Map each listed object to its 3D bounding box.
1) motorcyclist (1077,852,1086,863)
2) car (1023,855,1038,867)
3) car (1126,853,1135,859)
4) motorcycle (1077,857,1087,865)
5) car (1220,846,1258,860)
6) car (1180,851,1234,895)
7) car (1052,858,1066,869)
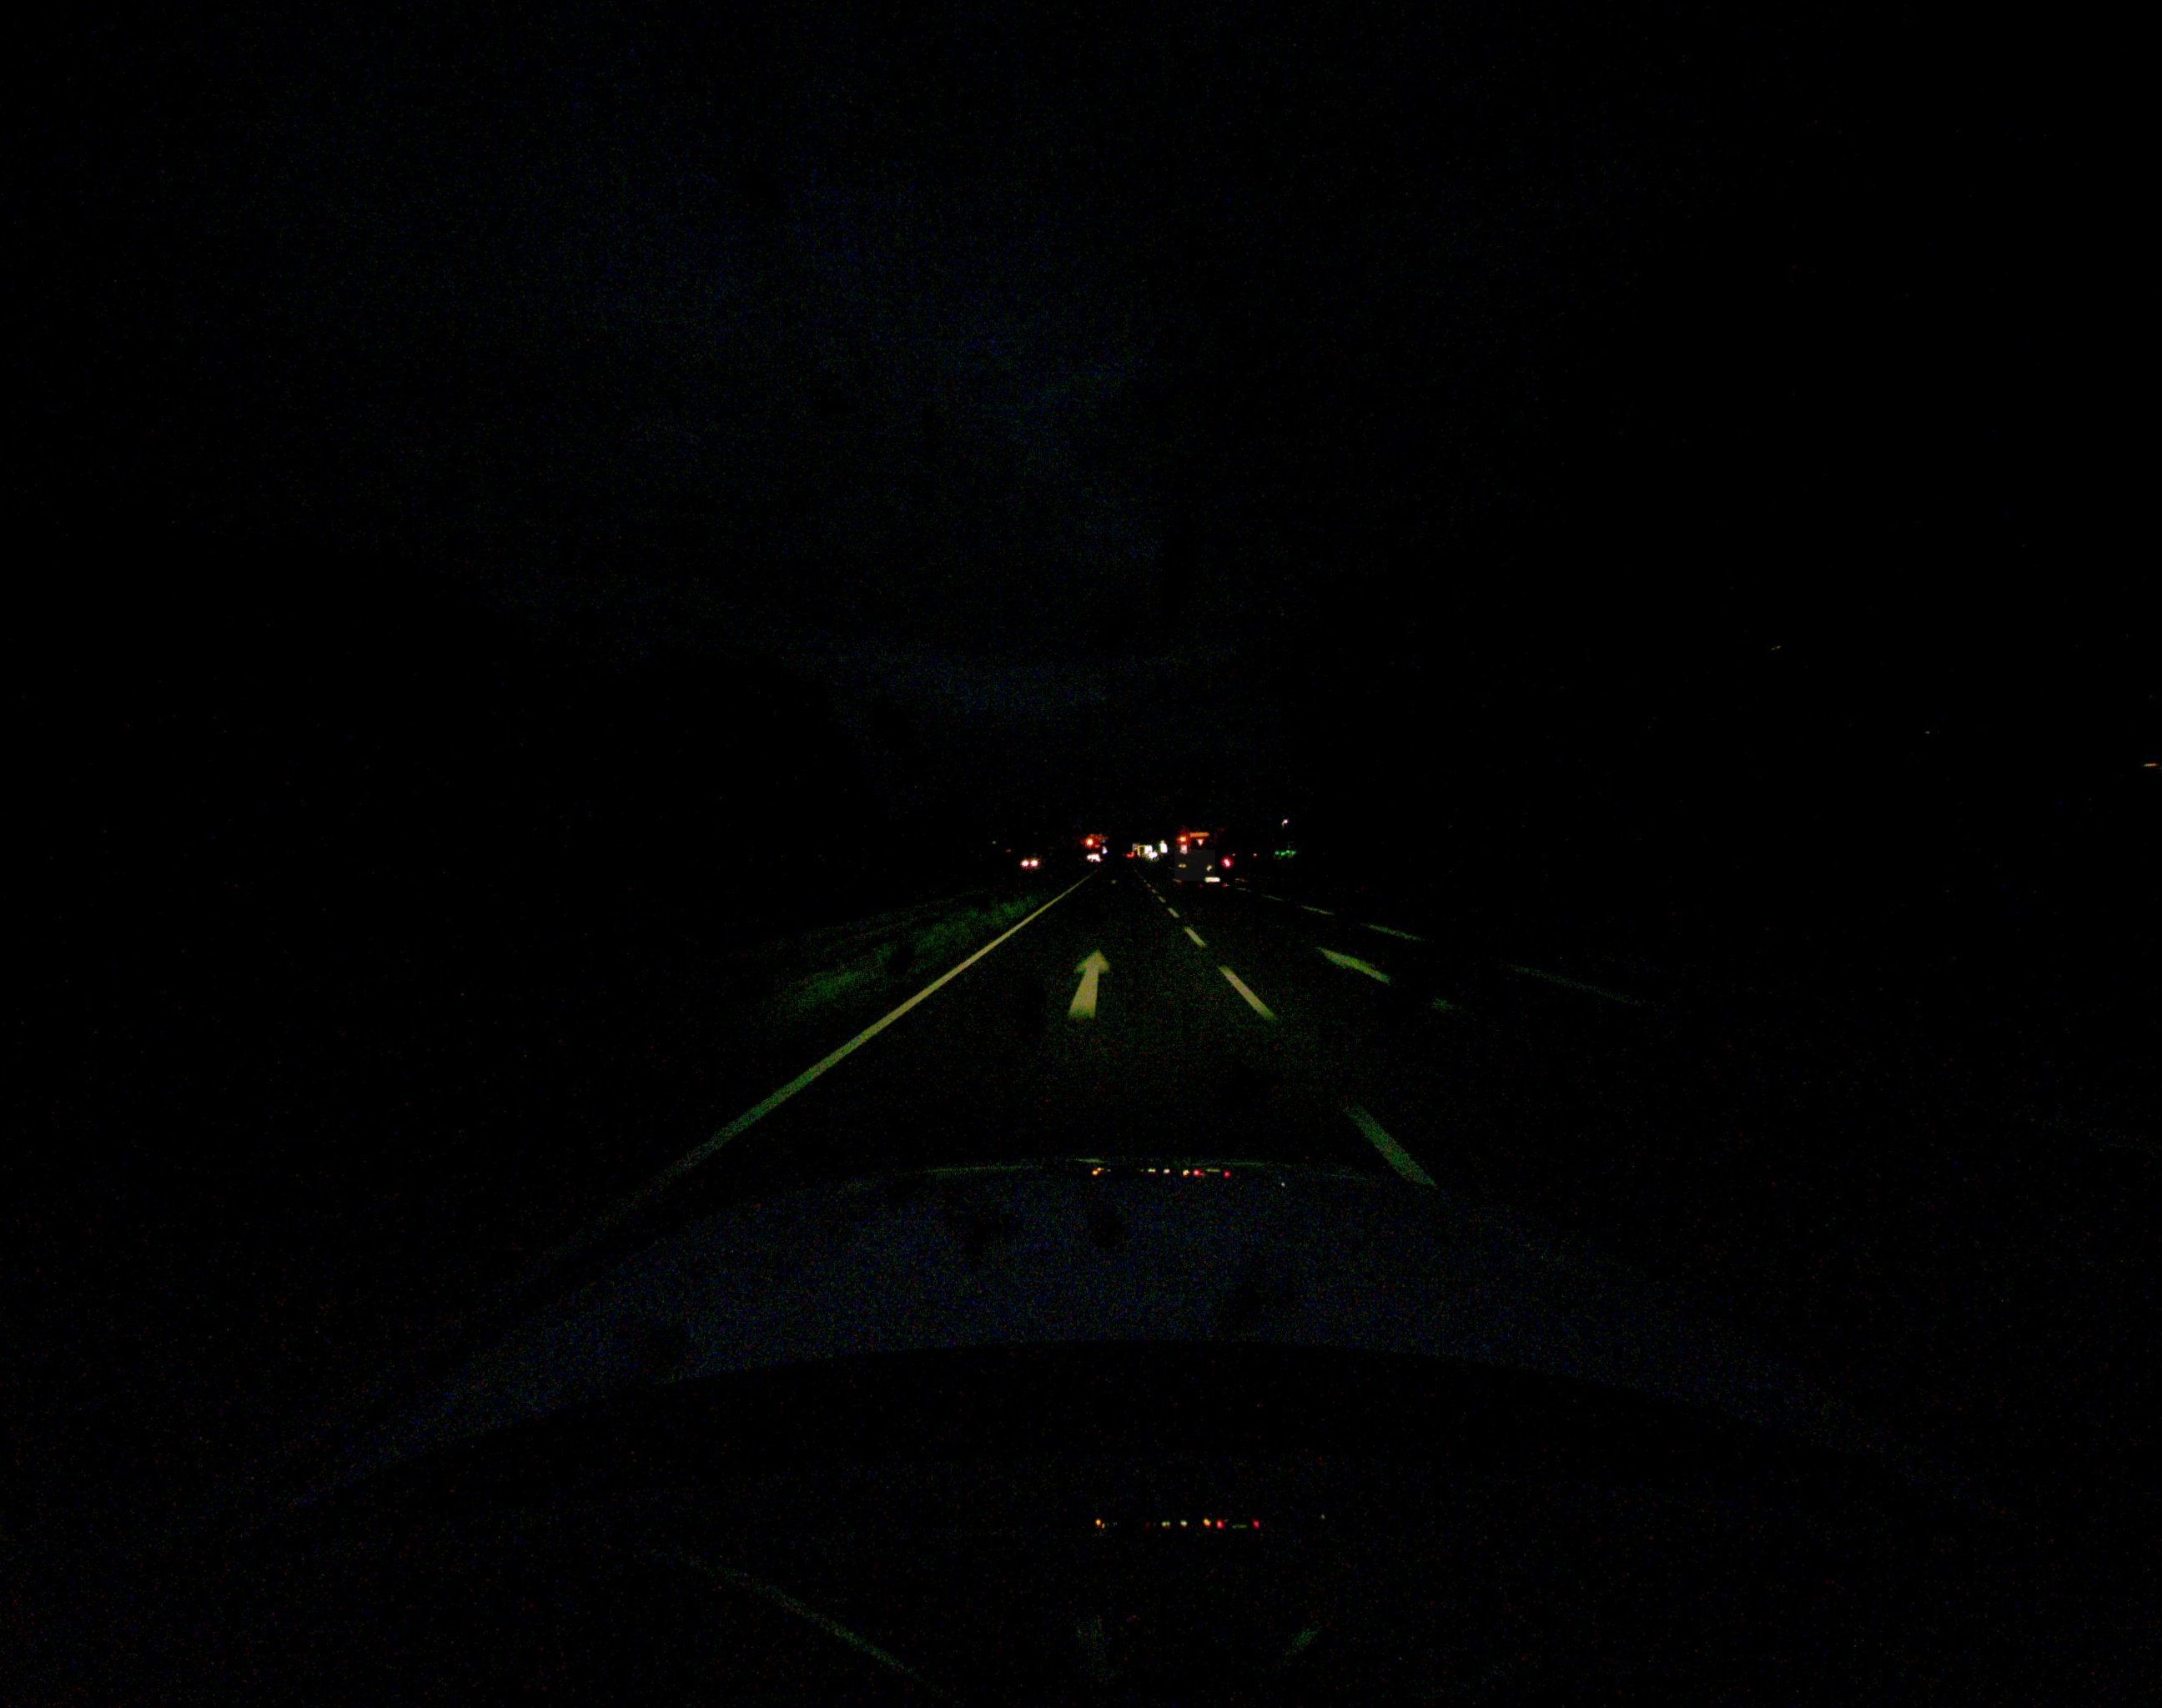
[{"bbox_3d":[0.107,0.529,121.959,1.130,1.584,0.975,-3,0,8],"label":"motorcyclist"},{"bbox_3d":[-7.300,1.028,118.938,1.788,1.671,4.502,-2,0,1],"label":"car"},{"bbox_3d":[14.244,0.665,234.191,2.265,1.632,4.002,-1,0,2],"label":"car"},{"bbox_3d":[0.145,1.004,122.059,0.973,1.098,2.514,-3,0,8],"label":"motorcycle"},{"bbox_3d":[20.353,-0.103,104.974,4.582,1.520,2.002,-3,0,2],"label":"car"},{"bbox_3d":[4.705,0.682,30.850,1.663,1.520,4.110,-1,0,4],"label":"car"},{"bbox_3d":[-3.179,1.309,118.276,1.914,1.431,4.502,-3,0,1],"label":"car"}]
